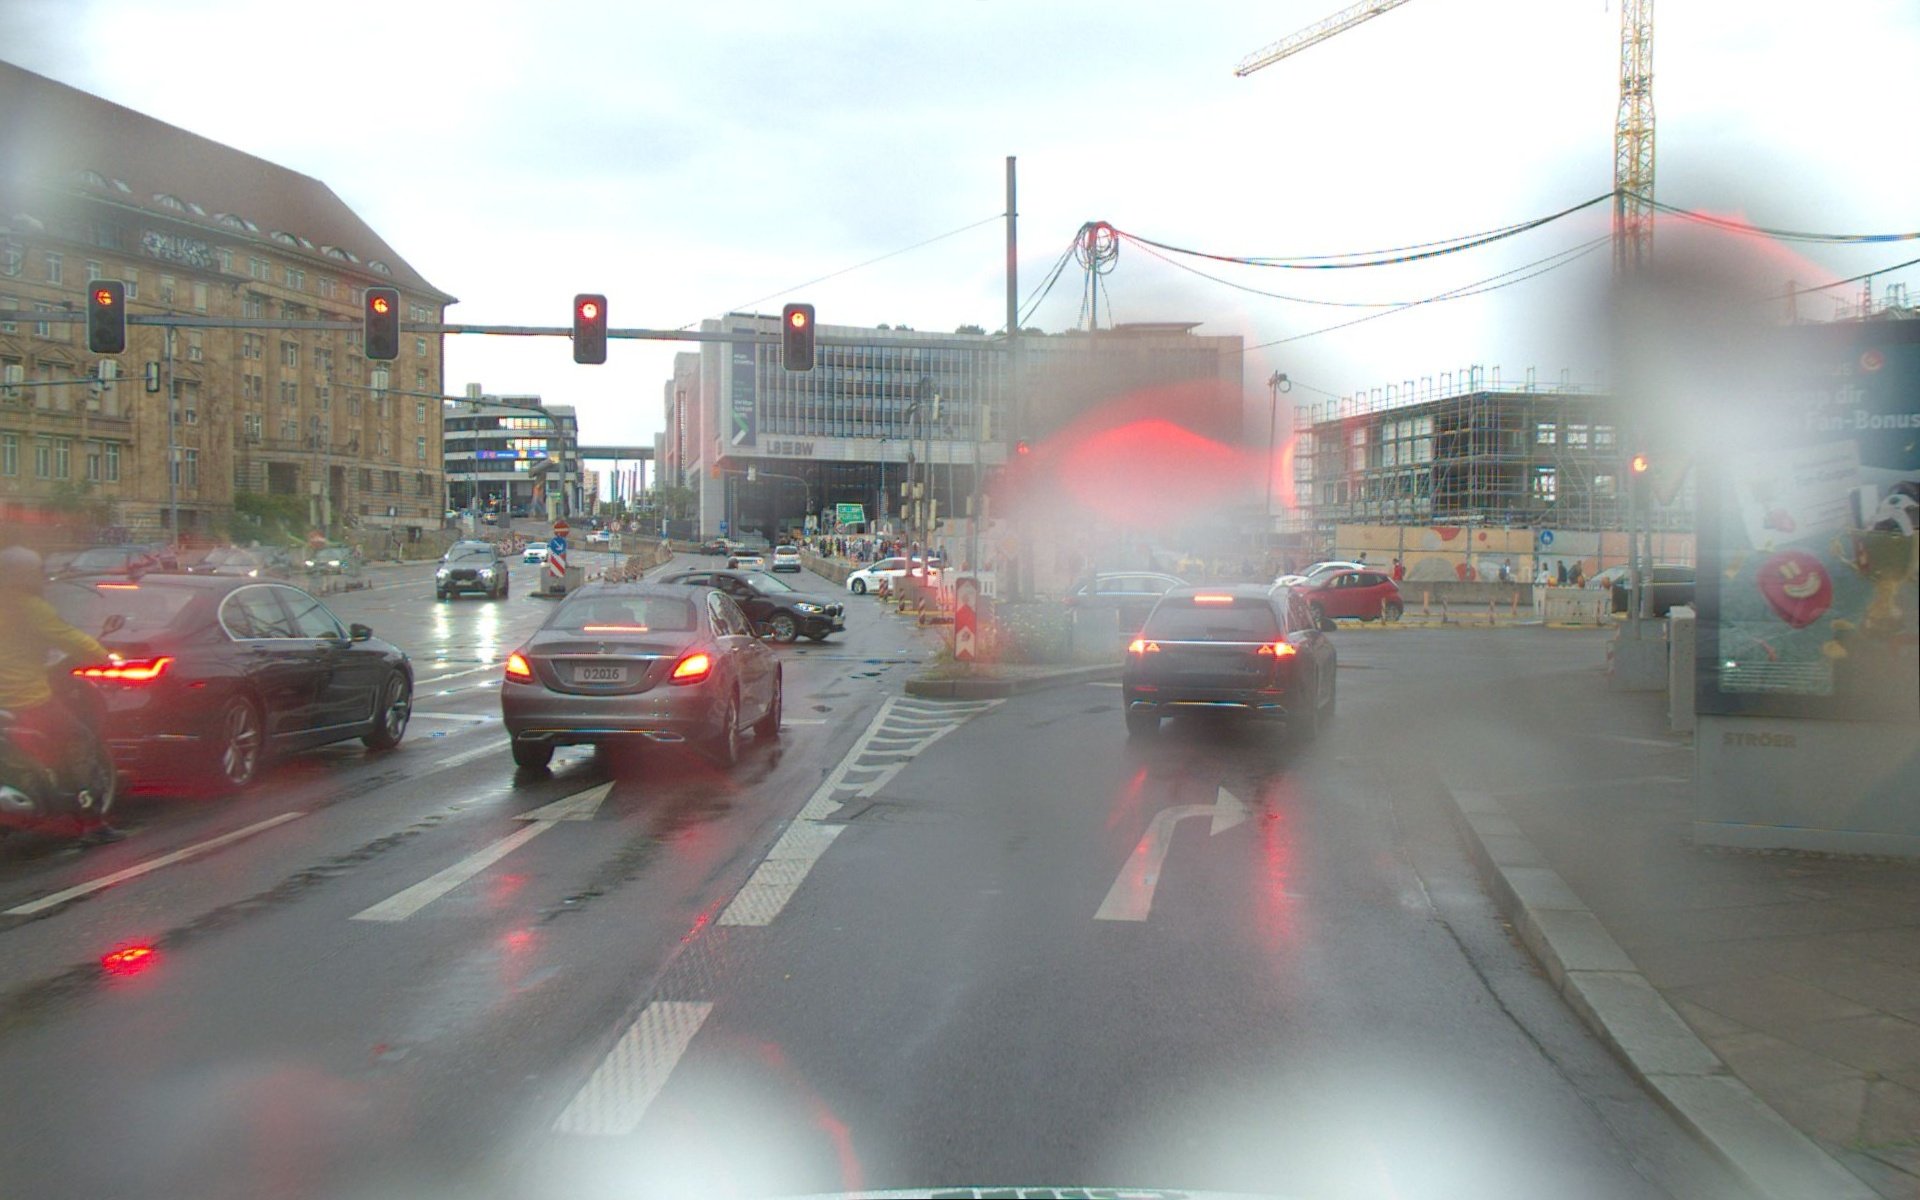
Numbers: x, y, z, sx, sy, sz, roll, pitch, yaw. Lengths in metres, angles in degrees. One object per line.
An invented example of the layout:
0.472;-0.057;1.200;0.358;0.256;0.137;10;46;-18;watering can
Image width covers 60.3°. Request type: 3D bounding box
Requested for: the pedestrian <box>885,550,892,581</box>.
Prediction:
-4.488;-2.157;103.823;0.354;1.931;0.575;1;0;-10;pedestrian

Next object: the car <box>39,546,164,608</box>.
-23.713;-0.607;45.832;1.768;1.601;4.068;1;0;-8;car

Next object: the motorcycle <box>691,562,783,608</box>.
-5.574;-0.374;41.383;2.090;1.128;0.852;1;0;10;motorcycle

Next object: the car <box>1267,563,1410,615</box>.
10.353;-0.290;45.343;3.471;1.327;1.661;1;0;-12;car

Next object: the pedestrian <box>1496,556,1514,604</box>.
22.051;-0.824;66.908;0.563;1.931;0.362;1;0;-4;pedestrian

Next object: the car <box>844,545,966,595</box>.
-2.123;-1.135;63.125;4.328;1.797;1.993;1;0;35;car

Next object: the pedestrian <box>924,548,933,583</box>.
-1.771;-1.922;92.586;0.355;1.931;0.574;1;0;-15;pedestrian

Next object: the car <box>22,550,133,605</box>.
-26.933;-0.659;50.612;1.665;1.601;3.993;1;0;-8;car

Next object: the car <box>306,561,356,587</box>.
-33.106;-1.349;87.168;1.704;1.282;3.324;1;0;-7;car

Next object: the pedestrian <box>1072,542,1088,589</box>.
4.989;-1.431;68.713;0.359;1.931;0.568;-1;0;-40;pedestrian

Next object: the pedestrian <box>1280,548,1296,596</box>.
13.264;-1.148;66.933;0.563;1.931;0.362;1;0;-1;pedestrian

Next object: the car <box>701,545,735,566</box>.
-24.406;-4.488;166.767;1.973;2.049;3.959;1;0;-30;car

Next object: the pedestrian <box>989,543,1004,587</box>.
1.587;-1.520;72.211;0.359;1.931;0.568;1;0;-40;pedestrian

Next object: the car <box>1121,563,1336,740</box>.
2.874;0.463;16.999;1.851;1.571;3.996;1;0;14;car

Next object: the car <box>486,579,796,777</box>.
-2.565;0.573;14.392;1.746;1.427;4.486;1;0;1;car

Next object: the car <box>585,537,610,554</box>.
-43.028;-6.445;196.276;1.969;1.847;3.967;1;0;-26;car

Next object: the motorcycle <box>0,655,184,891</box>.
-5.083;0.856;8.838;0.923;1.006;2.292;1;1;-4;motorcycle

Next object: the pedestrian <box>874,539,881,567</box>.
-5.865;-3.327;117.324;0.354;1.931;0.575;1;0;-10;pedestrian

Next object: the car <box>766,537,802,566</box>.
-11.048;-3.077;103.740;1.699;1.668;3.422;1;3;-15;car

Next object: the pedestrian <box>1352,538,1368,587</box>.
16.034;-1.504;66.338;0.562;1.931;0.362;1;0;2;pedestrian

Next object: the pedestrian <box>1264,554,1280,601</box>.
12.825;-0.926;68.094;0.563;1.931;0.362;1;0;-1;pedestrian

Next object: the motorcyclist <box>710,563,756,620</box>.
-5.678;-0.213;41.404;0.925;1.382;0.850;1;0;10;motorcyclist

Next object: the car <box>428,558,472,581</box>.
-31.590;-1.879;102.519;1.733;1.282;4.189;1;0;-5;car

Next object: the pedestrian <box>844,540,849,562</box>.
-10.086;-4.333;146.912;0.354;1.931;0.575;1;0;-10;pedestrian

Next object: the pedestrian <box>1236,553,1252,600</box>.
11.756;-0.958;68.426;0.563;1.931;0.362;1;0;20;pedestrian

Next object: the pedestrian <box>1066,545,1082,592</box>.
4.710;-1.292;68.385;0.359;1.931;0.568;1;0;-42;pedestrian

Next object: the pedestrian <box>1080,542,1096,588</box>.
5.340;-1.460;68.962;0.359;1.931;0.568;1;0;-41;pedestrian

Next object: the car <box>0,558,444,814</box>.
-5.676;0.516;12.548;1.848;1.541;5.003;1;0;1;car

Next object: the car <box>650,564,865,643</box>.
-4.192;0.052;34.188;4.022;1.533;1.996;1;0;30;car

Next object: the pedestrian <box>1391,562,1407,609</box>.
18.176;-0.582;68.491;0.562;1.931;0.362;1;0;2;pedestrian

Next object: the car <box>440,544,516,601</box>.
-16.604;-0.920;57.168;1.957;1.829;5.090;1;0;-10;car

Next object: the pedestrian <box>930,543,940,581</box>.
-1.279;-1.941;84.581;0.355;1.931;0.573;1;0;-19;pedestrian

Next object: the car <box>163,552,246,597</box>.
-27.478;-0.913;60.260;1.665;1.545;3.550;-1;1;-6;car

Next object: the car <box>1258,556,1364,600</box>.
12.490;-0.783;59.068;3.473;1.499;1.787;1;0;4;car

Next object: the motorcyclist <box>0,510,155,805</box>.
-5.081;0.291;8.968;0.923;1.501;1.099;1;0;-5;motorcyclist

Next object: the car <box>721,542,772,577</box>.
-10.939;-2.041;84.558;1.962;1.668;3.981;1;0;-17;car

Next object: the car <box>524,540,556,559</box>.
-31.994;-3.839;126.035;1.733;1.282;3.995;1;0;-5;car

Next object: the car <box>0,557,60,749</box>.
-9.064;0.438;13.000;1.697;1.644;4.001;1;0;1;car

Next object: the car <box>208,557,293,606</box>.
-24.722;-0.623;57.731;1.665;1.601;3.993;1;0;-8;car

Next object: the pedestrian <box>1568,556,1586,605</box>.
24.858;-0.778;66.592;0.563;1.931;0.362;1;0;-4;pedestrian

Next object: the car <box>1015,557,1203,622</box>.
3.296;-0.230;37.226;4.015;1.368;2.000;1;0;-1;car
